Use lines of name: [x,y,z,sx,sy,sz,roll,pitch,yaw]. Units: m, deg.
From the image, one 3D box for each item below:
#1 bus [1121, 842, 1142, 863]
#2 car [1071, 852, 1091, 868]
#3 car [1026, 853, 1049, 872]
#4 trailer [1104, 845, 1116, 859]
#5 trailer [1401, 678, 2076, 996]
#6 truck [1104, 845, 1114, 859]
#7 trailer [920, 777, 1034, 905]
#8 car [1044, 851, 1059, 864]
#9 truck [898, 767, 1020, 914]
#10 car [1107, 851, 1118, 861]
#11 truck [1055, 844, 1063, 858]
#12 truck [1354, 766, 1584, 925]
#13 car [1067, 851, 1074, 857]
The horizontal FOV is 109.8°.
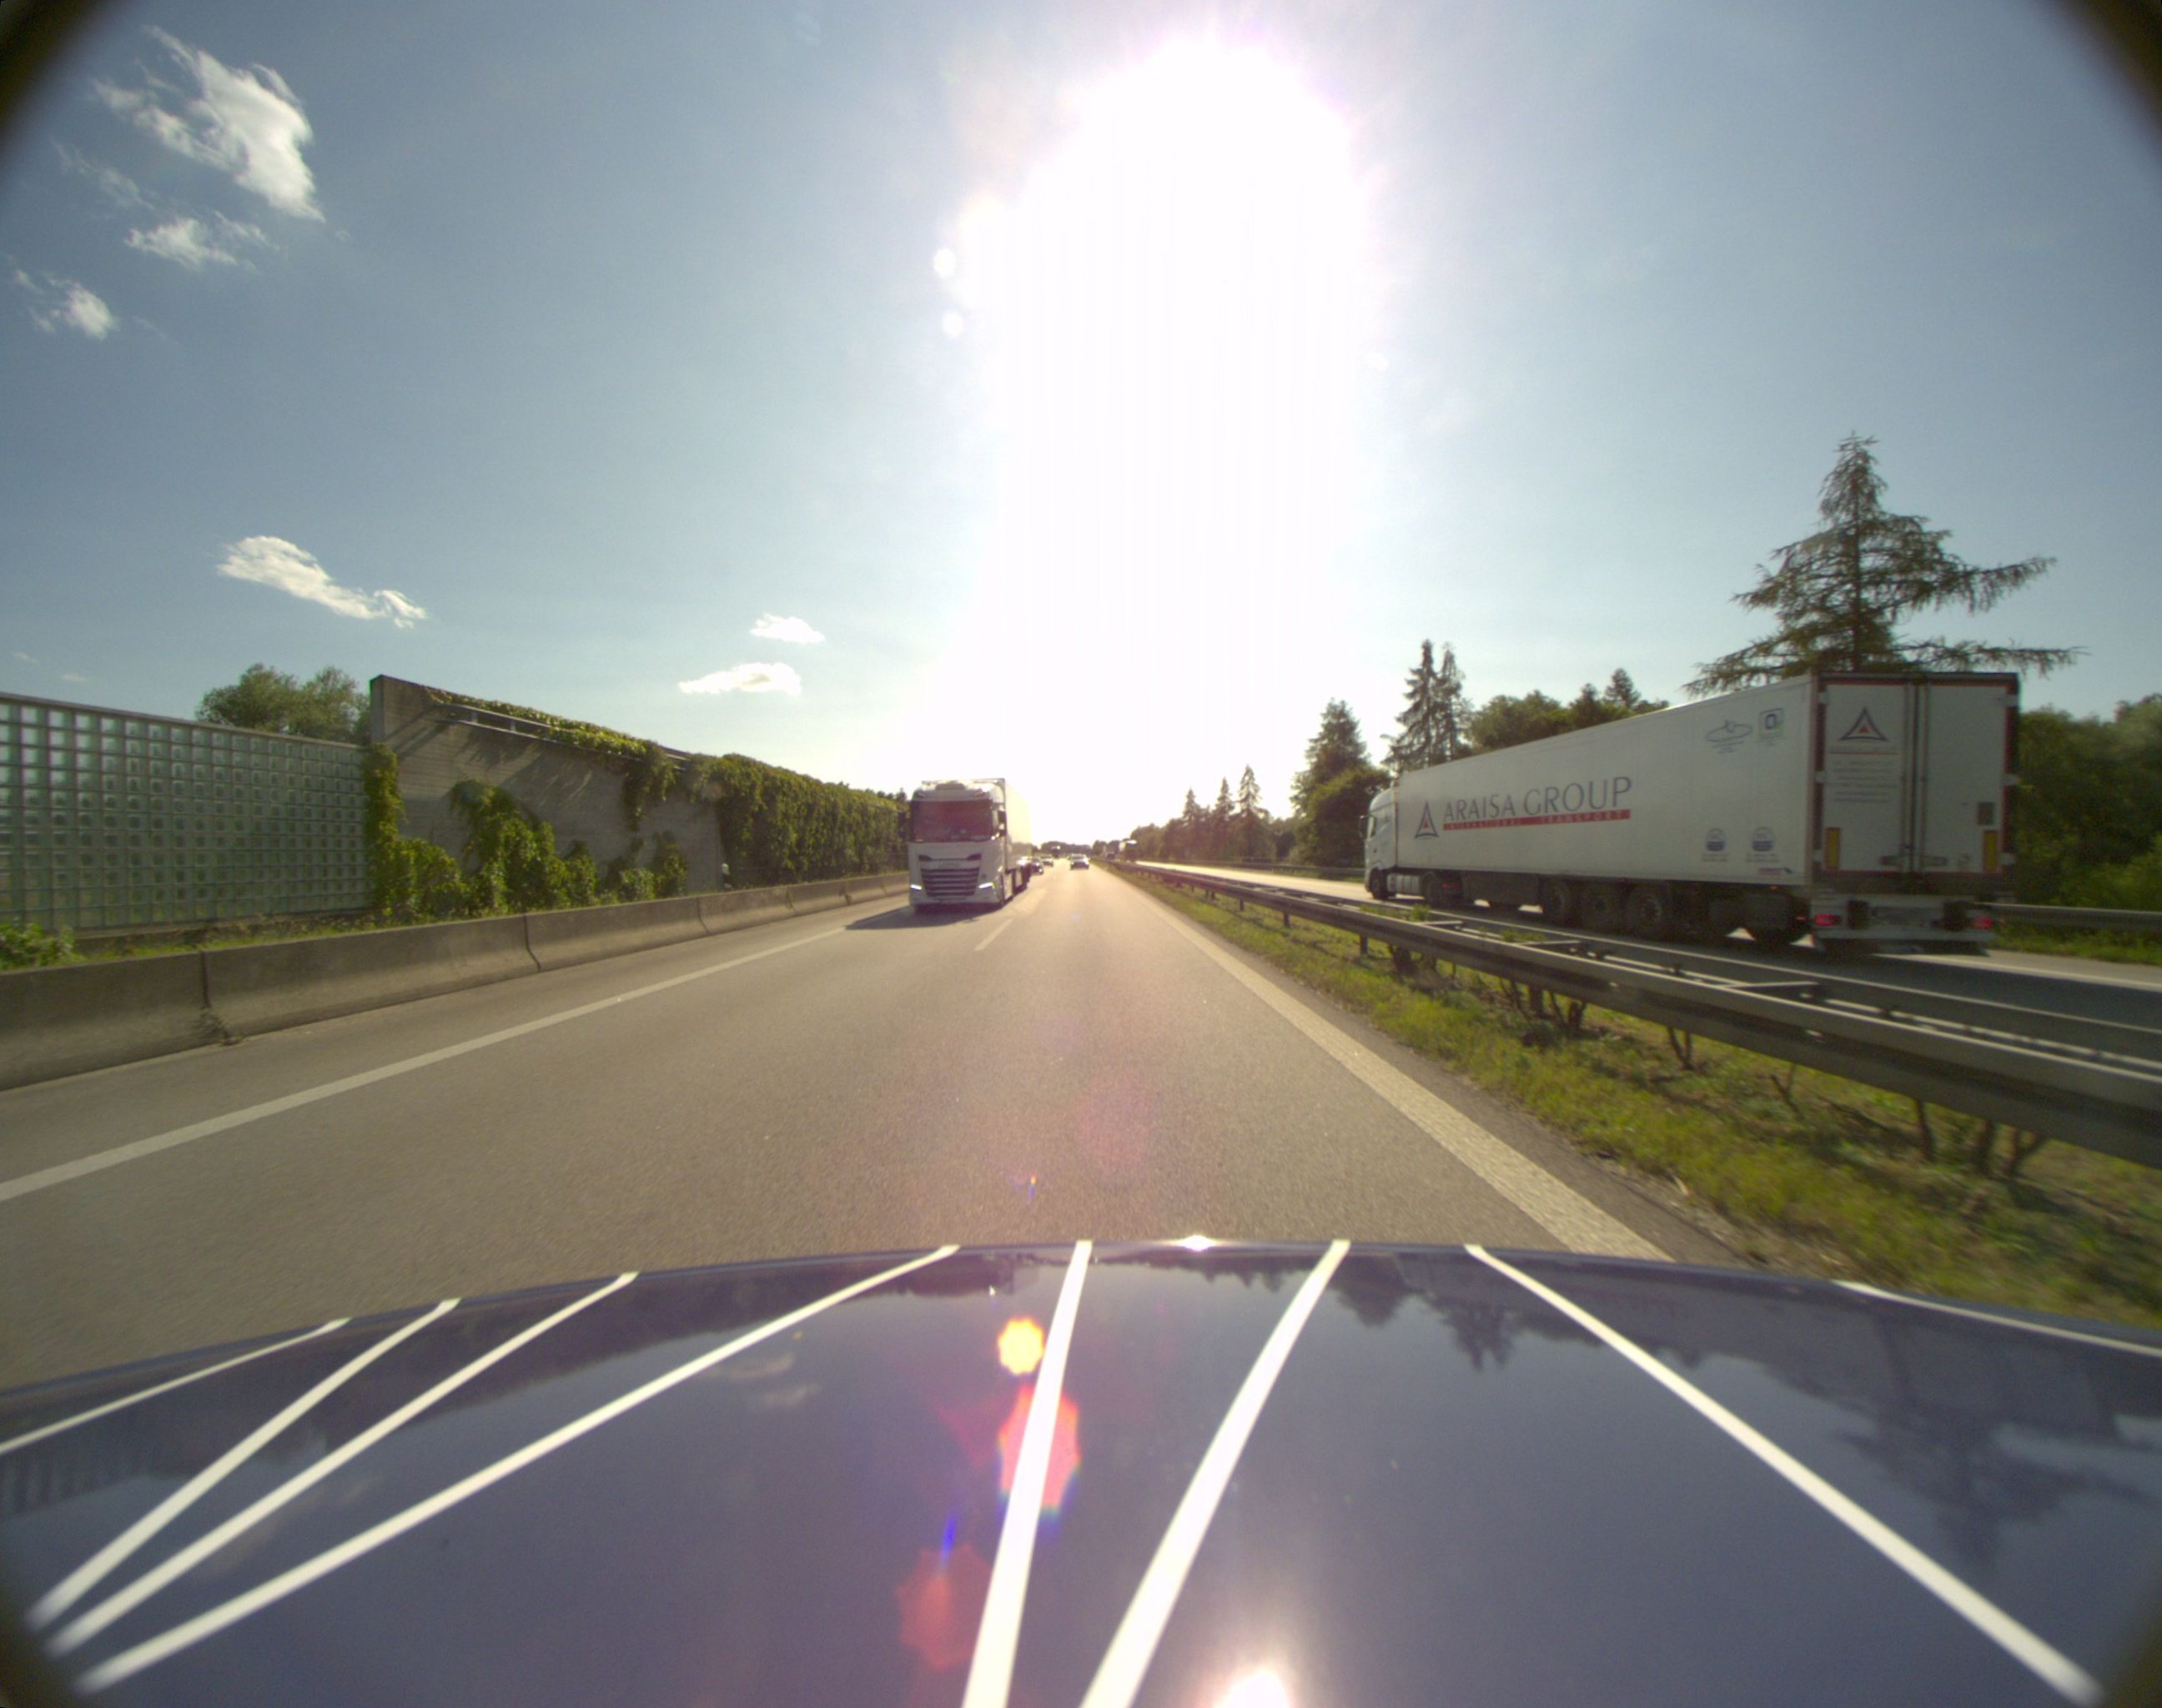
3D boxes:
bus: [10.288,-0.355,155.933,2.944,4.030,14.666,1,0,-1]
car: [0.016,0.585,75.112,1.871,1.514,4.283,1,0,-1]
car: [-3.468,0.666,61.379,1.670,1.446,4.543,-1,0,-1]
trailer: [8.559,-0.591,224.757,2.668,3.985,14.084,1,0,-2]
trailer: [11.409,-0.257,16.657,3.159,4.100,13.440,1,0,0]
truck: [8.460,-0.653,231.896,2.651,3.985,7.191,1,0,-1]
trailer: [-3.654,-0.405,30.606,2.826,3.943,14.158,0,0,-1]
car: [-3.708,0.470,95.543,1.689,1.487,4.986,3,-1,-2]
truck: [-3.549,-0.360,23.938,2.848,3.943,7.042,0,0,-1]
car: [6.267,0.440,151.585,1.759,1.838,5.011,1,0,0]
truck: [-6.996,-0.884,243.067,2.537,4.227,11.264,0,0,-1]
truck: [11.461,-0.249,23.608,3.164,4.078,7.734,1,0,0]
car: [-2.648,0.037,185.040,1.742,1.514,3.999,0,1,-1]
